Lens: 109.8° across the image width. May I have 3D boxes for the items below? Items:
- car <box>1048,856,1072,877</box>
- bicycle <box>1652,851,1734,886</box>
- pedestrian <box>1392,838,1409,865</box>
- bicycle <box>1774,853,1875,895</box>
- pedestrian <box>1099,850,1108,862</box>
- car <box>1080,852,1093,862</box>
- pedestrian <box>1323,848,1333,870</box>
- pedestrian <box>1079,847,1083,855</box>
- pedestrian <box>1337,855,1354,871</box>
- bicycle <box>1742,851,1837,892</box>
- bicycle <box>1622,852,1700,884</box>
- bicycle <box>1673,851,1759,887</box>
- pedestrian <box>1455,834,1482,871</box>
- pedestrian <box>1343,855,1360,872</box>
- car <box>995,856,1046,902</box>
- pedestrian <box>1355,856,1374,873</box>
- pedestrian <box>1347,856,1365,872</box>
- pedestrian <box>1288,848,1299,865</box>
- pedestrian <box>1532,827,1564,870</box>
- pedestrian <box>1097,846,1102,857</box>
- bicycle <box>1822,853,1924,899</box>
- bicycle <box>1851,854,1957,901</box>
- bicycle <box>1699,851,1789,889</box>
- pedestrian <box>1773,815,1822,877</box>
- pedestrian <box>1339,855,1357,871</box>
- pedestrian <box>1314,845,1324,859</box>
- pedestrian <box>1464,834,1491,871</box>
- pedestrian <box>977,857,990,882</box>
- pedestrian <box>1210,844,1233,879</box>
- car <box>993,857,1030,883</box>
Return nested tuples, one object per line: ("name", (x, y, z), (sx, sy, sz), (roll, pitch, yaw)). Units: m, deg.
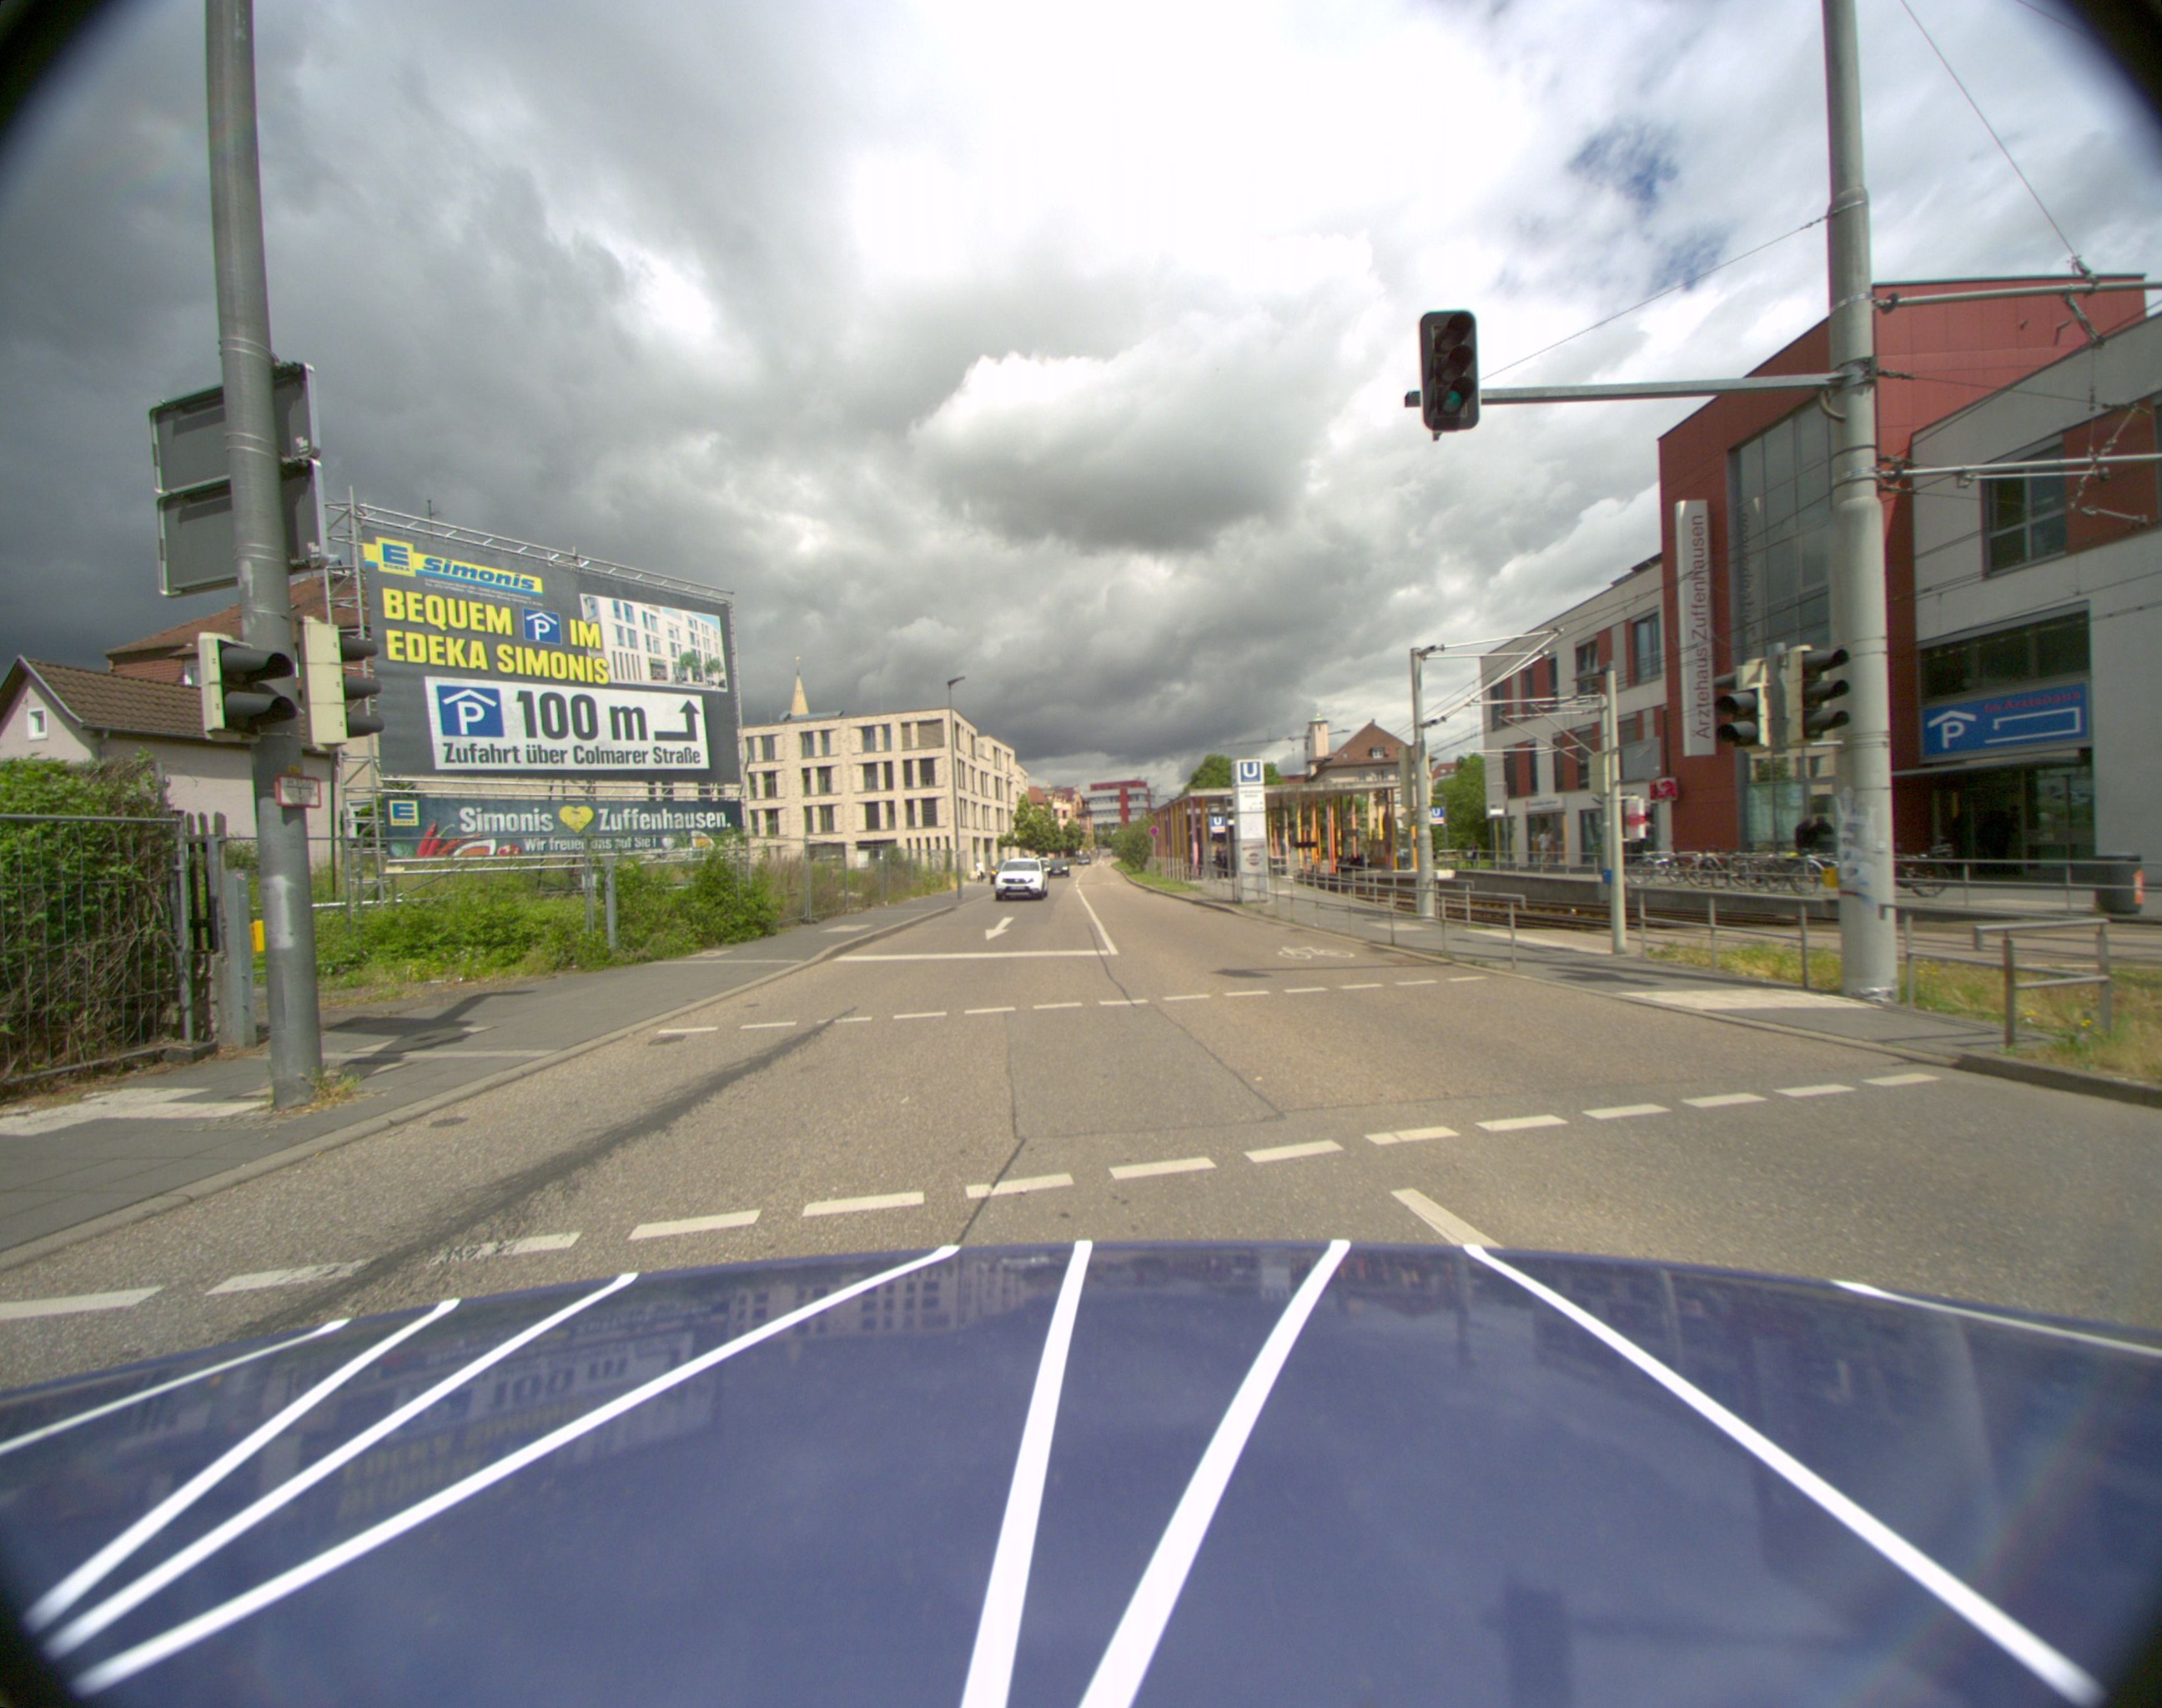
("car", (-1.539, 0.892, 56.911), (1.678, 1.425, 3.794), (-2, 1, 0))
("bicycle", (17.590, 0.407, 21.857), (1.861, 0.927, 0.455), (-2, 1, 9))
("pedestrian", (23.238, -0.177, 55.302), (0.863, 1.957, 1.106), (-1, 2, 6))
("bicycle", (17.643, 0.469, 18.044), (1.862, 0.930, 0.454), (-2, 1, 3))
("pedestrian", (3.146, 0.278, 104.871), (1.118, 1.744, 0.866), (-2, 0, -2))
("car", (0.866, 0.477, 108.700), (1.677, 1.299, 3.794), (-1, 1, 3))
("pedestrian", (22.860, 0.478, 70.308), (0.617, 2.002, 0.775), (-2, 0, -6))
("pedestrian", (0.060, -0.583, 140.443), (0.673, 1.503, 0.783), (-2, 0, 3))
("pedestrian", (19.254, 0.625, 55.326), (0.943, 1.128, 0.886), (-2, 0, 2))
("bicycle", (17.681, 0.437, 18.975), (1.862, 0.957, 0.454), (-2, 1, 3))
("bicycle", (17.530, 0.421, 22.985), (1.861, 0.876, 0.455), (-2, 1, 9))
("bicycle", (17.564, 0.422, 21.028), (1.861, 0.917, 0.455), (-2, 1, 8))
("pedestrian", (20.997, -0.111, 41.182), (0.864, 1.957, 1.105), (-1, 2, -1))
("pedestrian", (19.082, 0.664, 53.603), (0.943, 1.128, 0.886), (-2, 0, 2))
("car", (-2.204, 0.885, 28.549), (1.719, 1.541, 3.792), (-1, 0, -2))
("pedestrian", (19.262, 0.697, 51.689), (0.943, 1.128, 0.886), (-2, 0, 2))
("pedestrian", (19.067, 0.682, 52.645), (0.943, 1.128, 0.886), (-2, 0, 2))
("pedestrian", (25.906, 0.333, 92.657), (1.127, 2.002, 1.179), (-1, 0, 6))
("pedestrian", (21.930, -0.269, 35.702), (0.864, 1.957, 1.106), (-1, 2, 3))
("pedestrian", (3.600, -0.459, 146.669), (0.800, 2.002, 0.810), (-1, 0, 4))
("bicycle", (17.710, 0.488, 17.004), (1.739, 0.952, 0.428), (-2, 1, 3))
("bicycle", (17.722, 0.502, 16.371), (1.739, 0.947, 0.428), (-2, 1, 3))
("bicycle", (17.547, 0.428, 20.127), (1.861, 0.934, 0.454), (-2, 1, 5))
("pedestrian", (22.008, -0.241, 23.345), (0.881, 1.835, 0.862), (-4, 3, -27))
("pedestrian", (19.179, 0.644, 54.593), (0.943, 1.128, 0.886), (-2, 0, 2))
("pedestrian", (25.297, -0.176, 80.766), (0.744, 1.442, 0.902), (-2, 0, -1))
("pedestrian", (21.474, -0.087, 41.199), (0.864, 1.957, 1.105), (-1, 2, -1))
("pedestrian", (-6.164, 0.971, 48.091), (0.673, 1.503, 0.782), (-2, 0, 1))
("pedestrian", (7.699, 0.394, 41.649), (1.105, 1.903, 0.864), (-1, 2, 2))
("car", (-4.160, 0.958, 46.117), (1.677, 1.415, 3.794), (-1, 1, 3))
